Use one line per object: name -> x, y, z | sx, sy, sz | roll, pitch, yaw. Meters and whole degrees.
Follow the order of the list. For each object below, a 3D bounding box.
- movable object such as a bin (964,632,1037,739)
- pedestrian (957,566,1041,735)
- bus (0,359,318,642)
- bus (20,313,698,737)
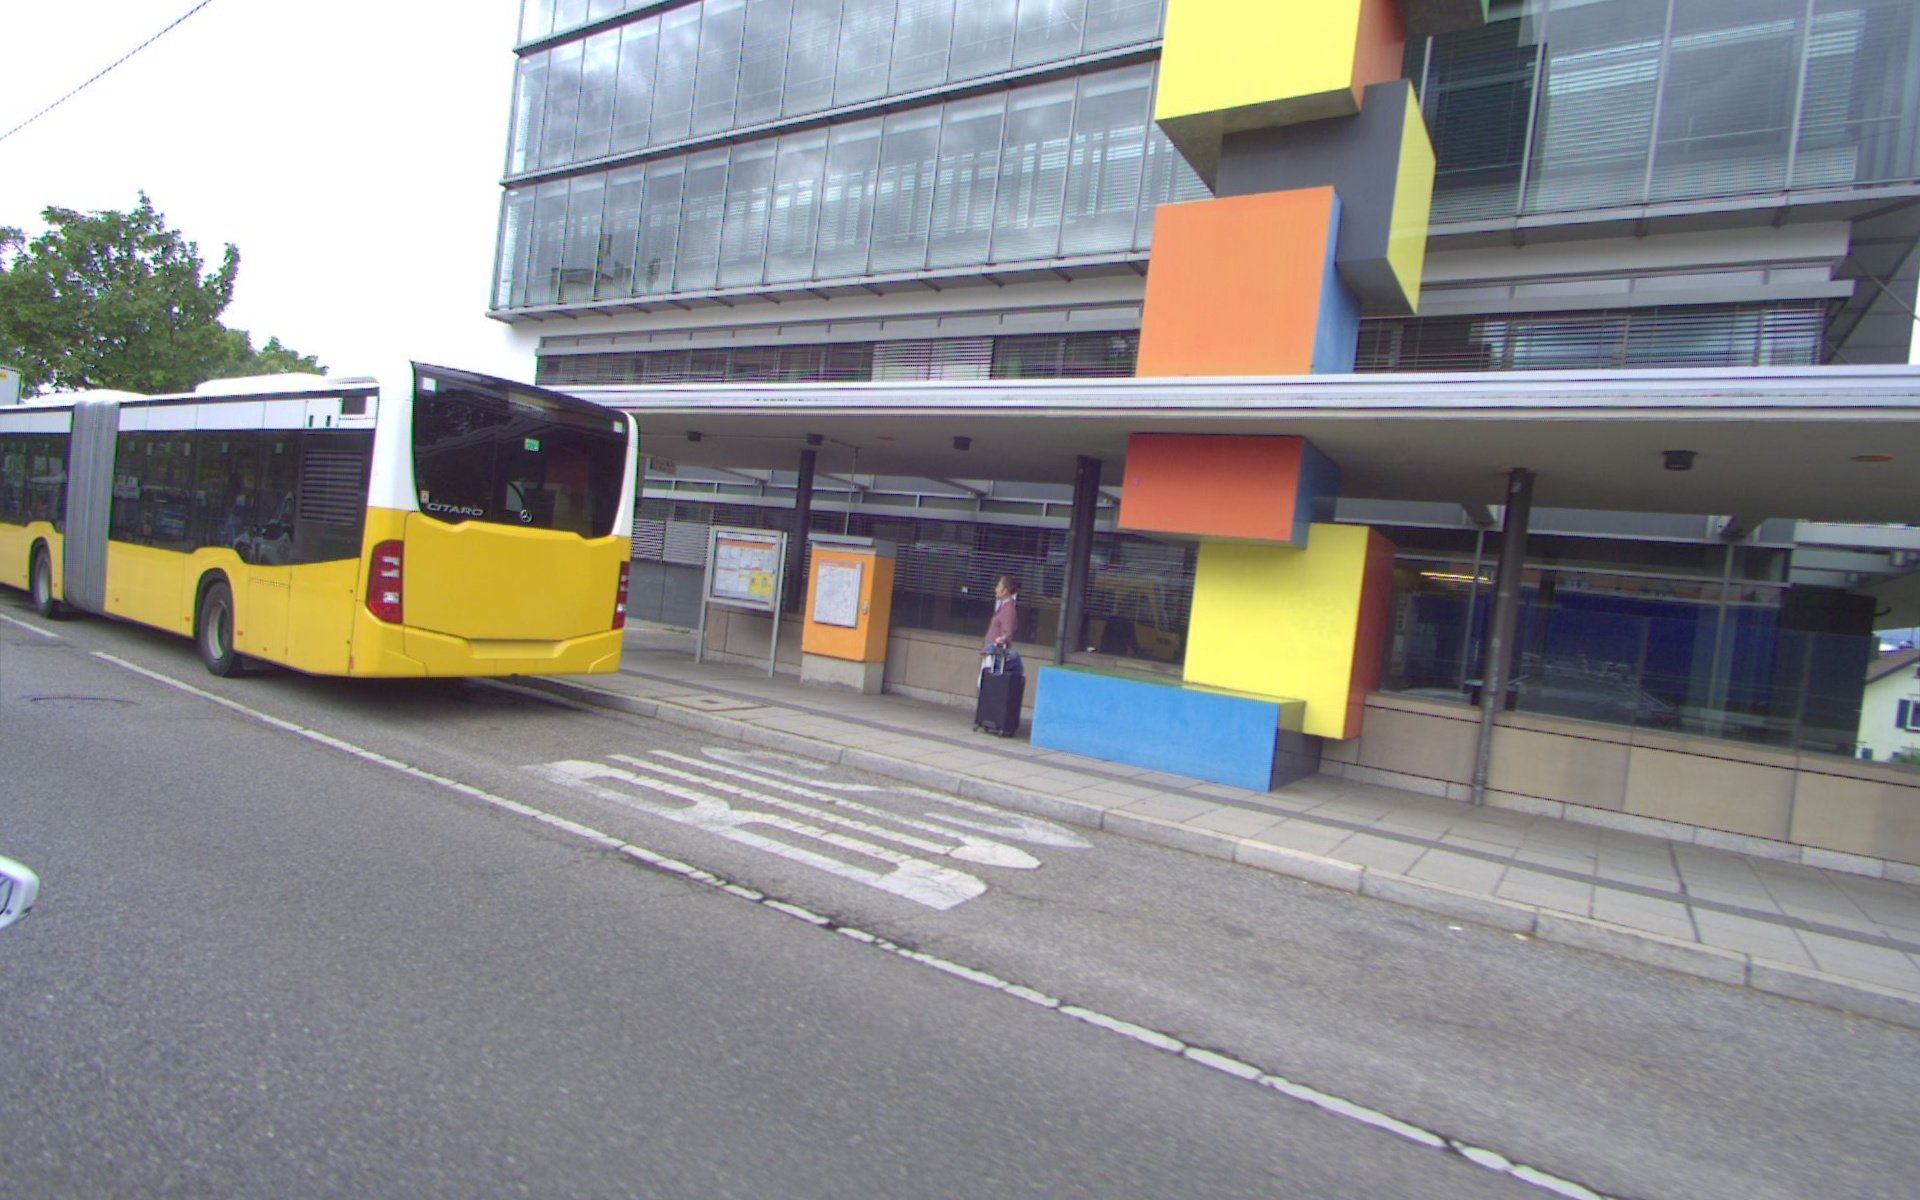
movable object such as a bin -> 0.427, 0.895, 10.631 | 0.524, 1.042, 0.420 | 7, 1, 33
pedestrian -> 0.430, 0.546, 11.039 | 0.563, 1.757, 0.508 | 7, 1, 33
bus -> -14.513, -1.582, 16.491 | 9.712, 3.277, 2.986 | 6, -3, 35
bus -> -7.422, -0.893, 11.636 | 9.190, 3.277, 3.035 | 6, 1, 35
